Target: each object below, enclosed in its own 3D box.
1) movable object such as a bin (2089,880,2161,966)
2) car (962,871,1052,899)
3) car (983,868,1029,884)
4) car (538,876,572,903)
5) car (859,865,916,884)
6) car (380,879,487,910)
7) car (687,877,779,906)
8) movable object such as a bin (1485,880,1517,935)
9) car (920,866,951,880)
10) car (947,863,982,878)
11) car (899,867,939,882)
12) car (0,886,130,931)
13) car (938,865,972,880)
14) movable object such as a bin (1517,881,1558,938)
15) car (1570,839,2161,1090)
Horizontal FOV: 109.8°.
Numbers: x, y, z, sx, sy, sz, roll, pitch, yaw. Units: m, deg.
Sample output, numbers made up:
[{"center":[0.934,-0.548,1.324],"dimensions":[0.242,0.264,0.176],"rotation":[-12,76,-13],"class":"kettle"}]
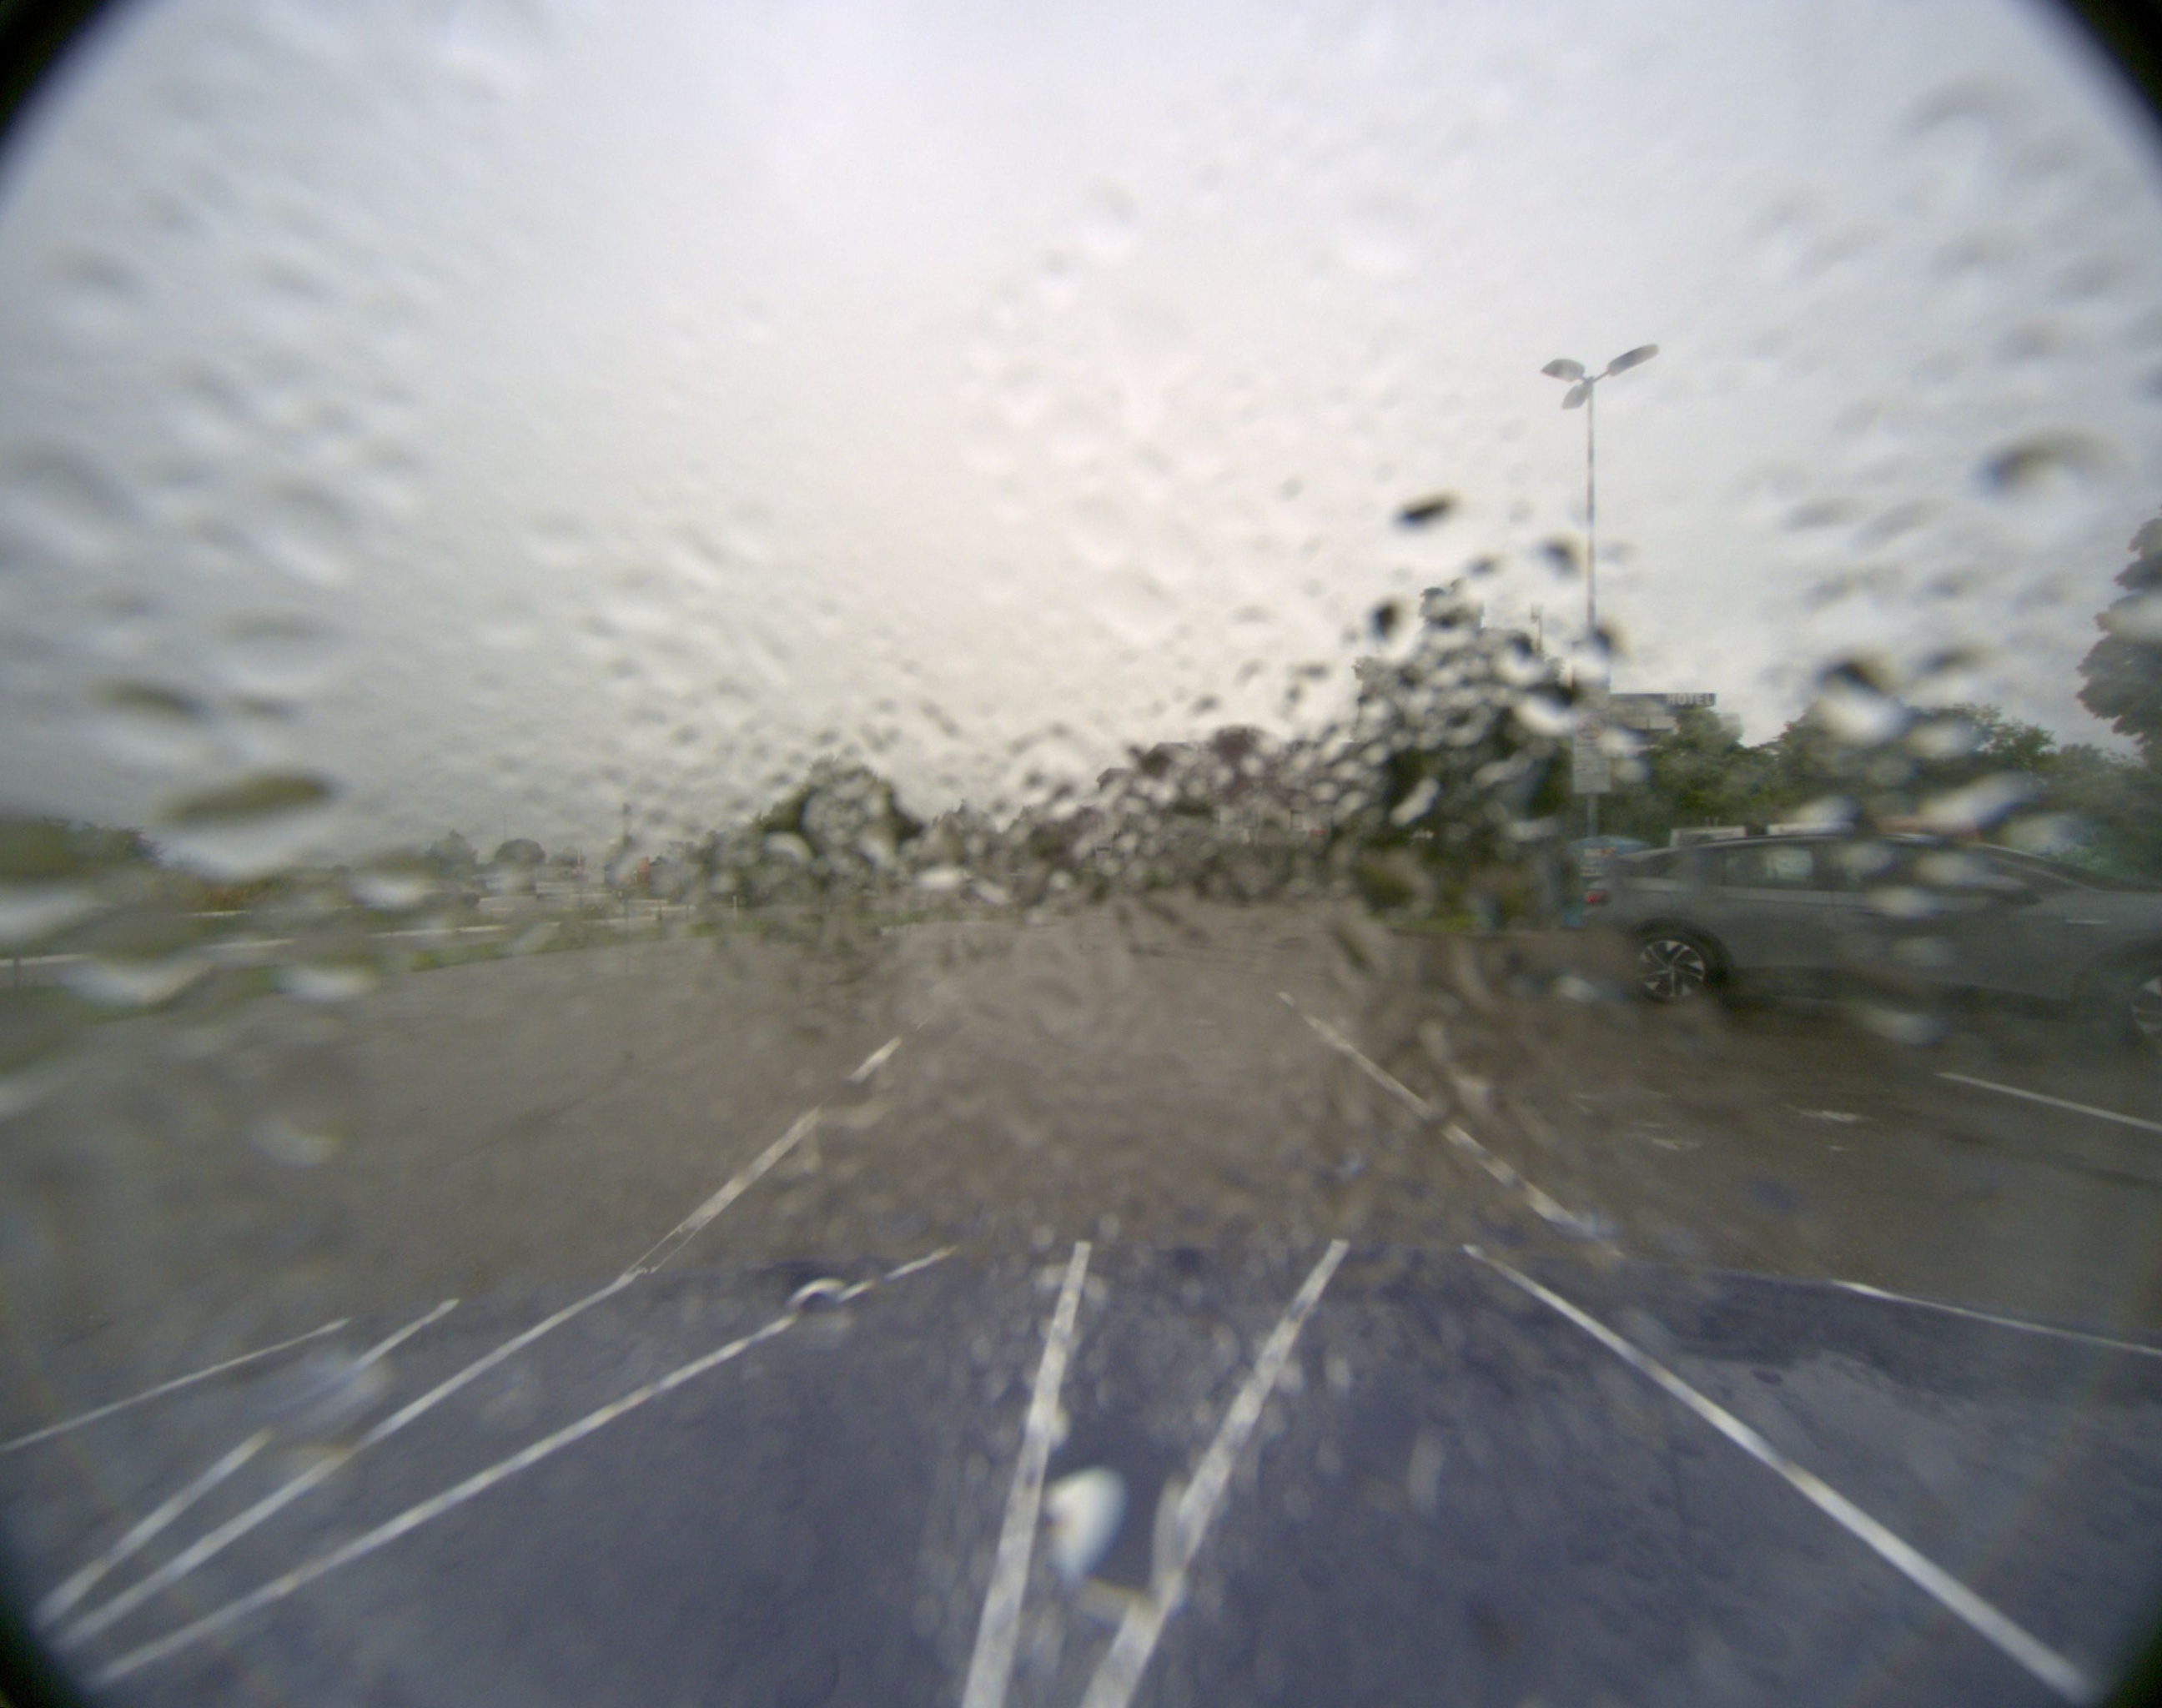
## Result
[{"center":[11.708,0.761,8.525],"dimensions":[0.510,0.917,0.437],"rotation":[0,-2,-39],"class":"movable object such as a bin"},{"center":[-3.921,1.655,40.379],"dimensions":[4.320,1.440,1.872],"rotation":[-1,-1,17],"class":"car"},{"center":[-7.324,2.107,74.471],"dimensions":[4.358,1.416,1.850],"rotation":[-1,-1,-3],"class":"car"},{"center":[-38.423,2.580,55.583],"dimensions":[1.896,1.674,4.657],"rotation":[0,1,-33],"class":"car"},{"center":[-19.945,2.151,78.463],"dimensions":[5.374,1.711,2.000],"rotation":[-2,-1,-2],"class":"car"},{"center":[-33.504,2.066,39.485],"dimensions":[1.755,1.317,4.309],"rotation":[1,1,3],"class":"car"},{"center":[-19.397,2.077,42.477],"dimensions":[4.355,1.416,1.707],"rotation":[-2,0,4],"class":"car"},{"center":[7.576,0.962,13.718],"dimensions":[0.434,0.943,0.474],"rotation":[-2,0,25],"class":"movable object such as a bin"},{"center":[-16.873,2.239,88.228],"dimensions":[3.716,1.540,1.670],"rotation":[-3,-1,43],"class":"car"},{"center":[-14.142,2.027,92.089],"dimensions":[3.989,1.717,1.994],"rotation":[-3,-1,37],"class":"car"},{"center":[-18.344,2.360,86.122],"dimensions":[4.636,1.541,2.004],"rotation":[-3,-1,41],"class":"car"},{"center":[-37.687,1.915,26.905],"dimensions":[1.995,1.472,4.672],"rotation":[0,-1,26],"class":"car"},{"center":[-14.979,2.210,90.115],"dimensions":[3.878,1.560,1.753],"rotation":[-3,-1,38],"class":"car"},{"center":[7.944,0.956,13.232],"dimensions":[0.405,0.943,0.450],"rotation":[-2,0,1],"class":"movable object such as a bin"},{"center":[7.040,0.720,6.367],"dimensions":[2.003,1.565,4.489],"rotation":[-2,0,-33],"class":"car"}]
